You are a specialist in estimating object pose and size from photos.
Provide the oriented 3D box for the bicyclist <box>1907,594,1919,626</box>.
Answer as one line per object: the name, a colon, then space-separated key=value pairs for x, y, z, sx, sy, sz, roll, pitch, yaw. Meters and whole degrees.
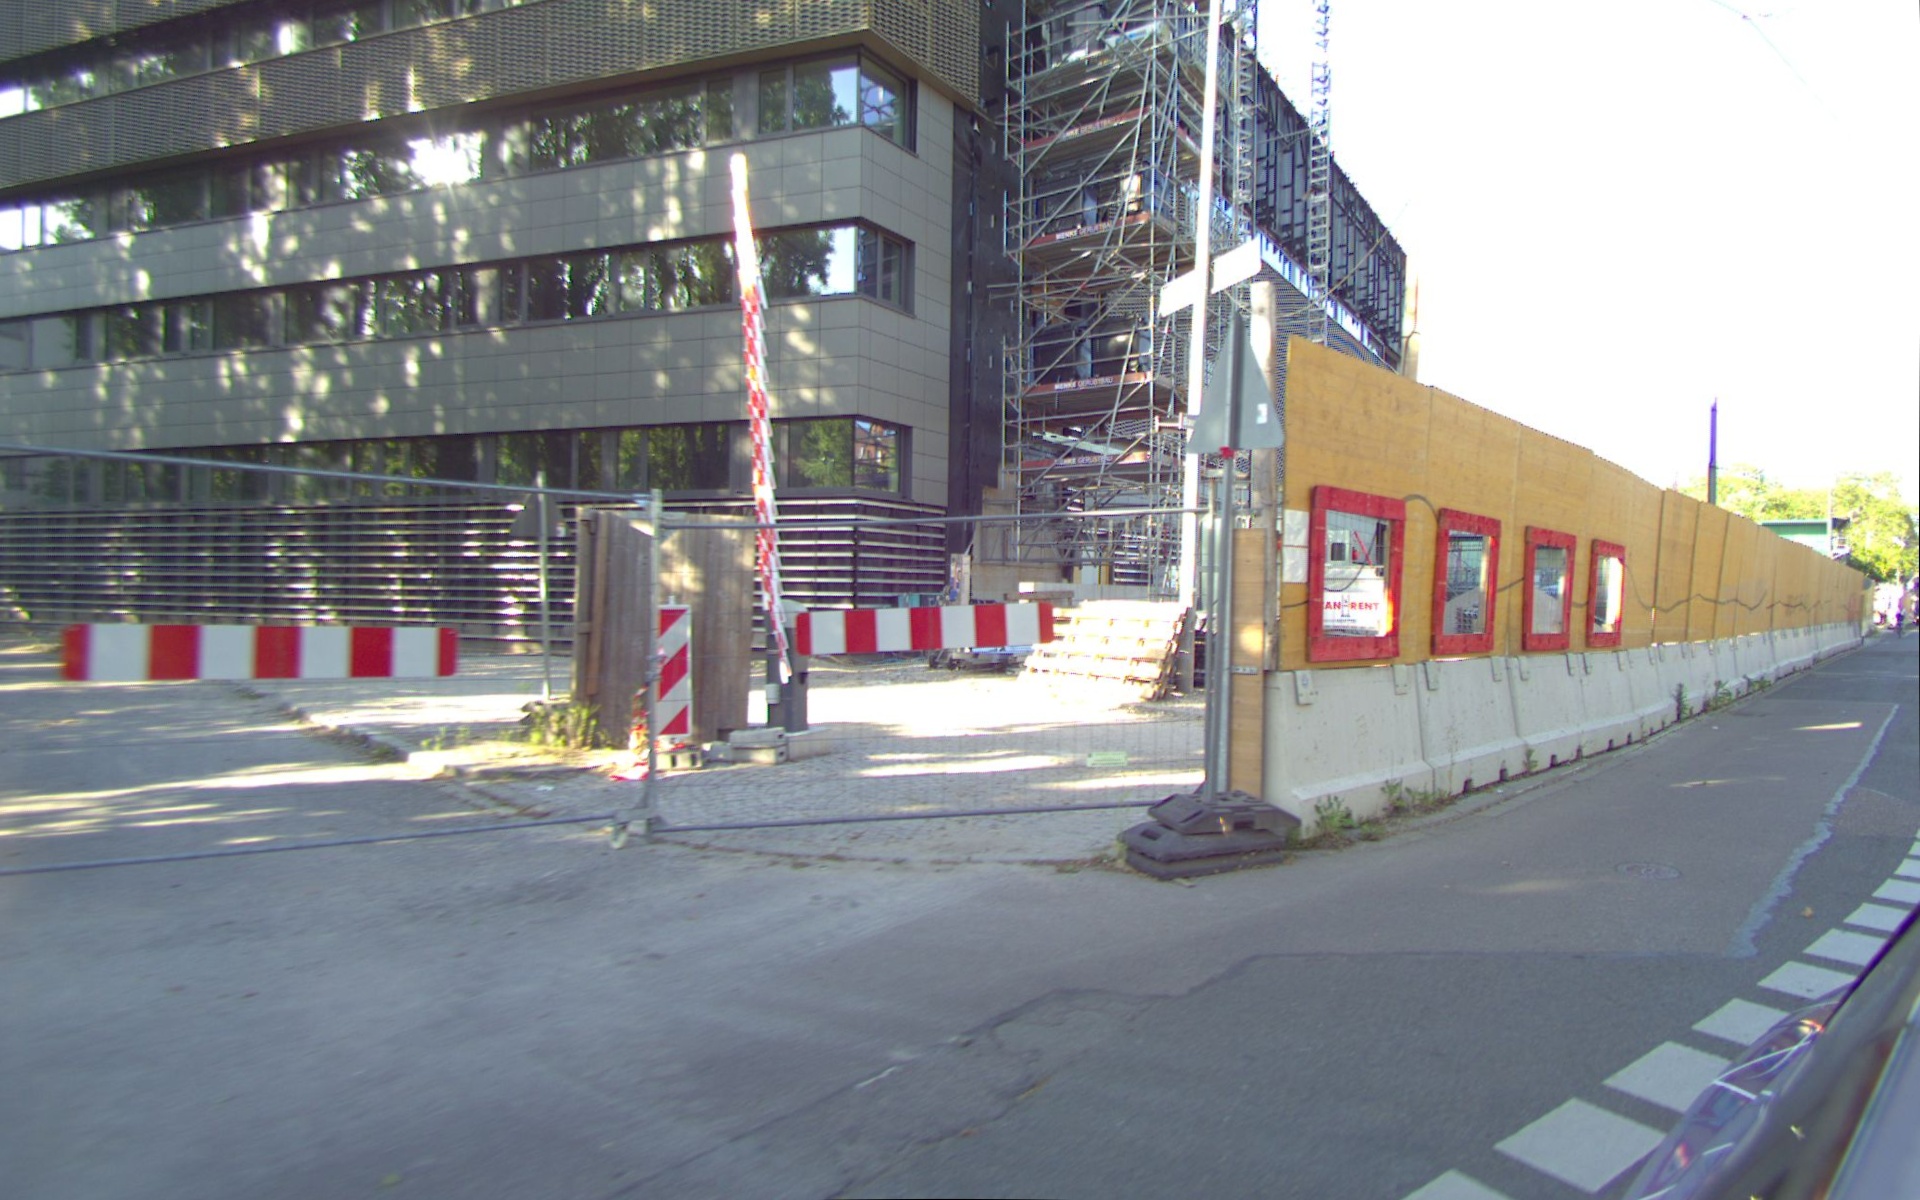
bicyclist: x=48.931 y=0.525 z=51.847 sx=0.556 sy=1.633 sz=0.567 roll=2 pitch=1 yaw=43

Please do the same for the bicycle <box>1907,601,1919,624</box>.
bicycle: x=48.941 y=0.657 z=51.847 sx=0.557 sy=1.141 sz=2.241 roll=2 pitch=1 yaw=42
